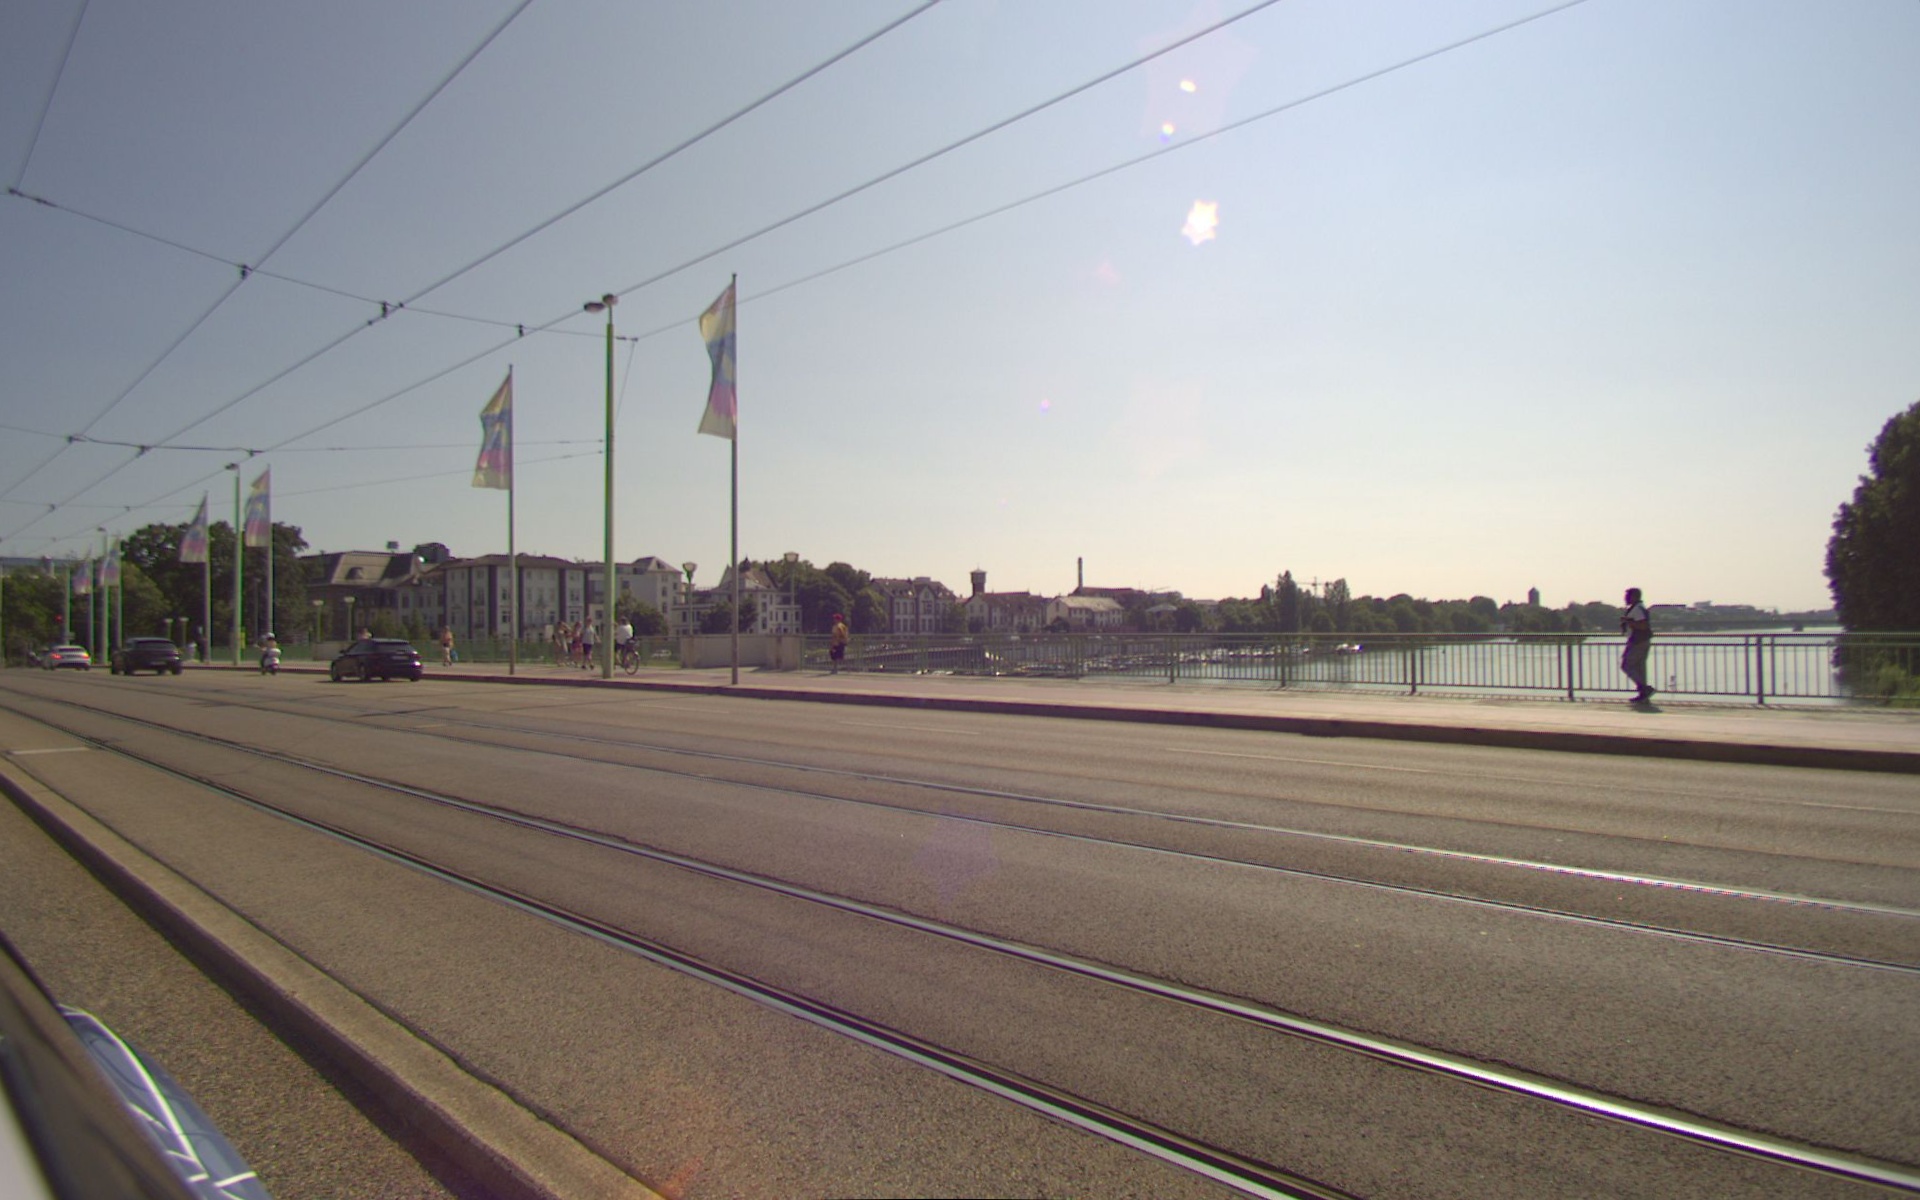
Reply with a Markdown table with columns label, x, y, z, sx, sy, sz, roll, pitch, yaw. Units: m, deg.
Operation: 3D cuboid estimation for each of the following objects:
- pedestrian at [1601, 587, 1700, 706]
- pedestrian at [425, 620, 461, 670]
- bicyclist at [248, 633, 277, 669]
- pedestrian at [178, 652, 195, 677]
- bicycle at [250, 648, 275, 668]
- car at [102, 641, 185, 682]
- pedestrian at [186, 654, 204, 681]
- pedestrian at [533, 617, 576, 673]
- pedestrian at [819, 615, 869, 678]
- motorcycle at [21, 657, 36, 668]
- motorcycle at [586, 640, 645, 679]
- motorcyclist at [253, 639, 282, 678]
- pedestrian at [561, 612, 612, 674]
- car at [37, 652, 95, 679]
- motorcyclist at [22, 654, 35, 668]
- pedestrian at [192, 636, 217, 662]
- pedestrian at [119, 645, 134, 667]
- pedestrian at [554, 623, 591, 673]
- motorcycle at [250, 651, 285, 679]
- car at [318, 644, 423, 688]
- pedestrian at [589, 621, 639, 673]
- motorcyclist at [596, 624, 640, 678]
| label | x | y | z | sx | sy | sz | roll | pitch | yaw |
| --- | --- | --- | --- | --- | --- | --- | --- | --- | --- |
| pedestrian | 10.487 | 0.698 | 15.370 | 1.093 | 1.735 | 0.821 | -3 | -3 | 42 |
| pedestrian | -21.597 | 1.868 | 42.277 | 1.099 | 2.029 | 0.960 | -3 | -3 | 36 |
| bicyclist | -39.318 | 2.889 | 57.026 | 1.128 | 1.976 | 1.086 | -4 | -3 | 39 |
| pedestrian | -56.622 | 4.715 | 74.069 | 0.956 | 1.797 | 0.731 | -4 | 0 | 39 |
| bicycle | -39.283 | 3.246 | 56.979 | 2.110 | 1.105 | 0.583 | -2 | -3 | 39 |
| car | -35.288 | 2.631 | 43.699 | 4.333 | 1.612 | 1.974 | -3 | -2 | 40 |
| pedestrian | -56.507 | 4.975 | 74.711 | 1.120 | 1.862 | 0.731 | -4 | 0 | 39 |
| pedestrian | -15.129 | 1.681 | 37.745 | 1.128 | 2.029 | 1.086 | -4 | -3 | 39 |
| pedestrian | -3.173 | 1.267 | 27.717 | 1.029 | 1.671 | 0.889 | -3 | -2 | 44 |
| motorcycle | -94.005 | 6.318 | 102.112 | 1.950 | 1.033 | 0.836 | -3 | -2 | 40 |
| motorcycle | -10.358 | 1.785 | 30.399 | 2.177 | 1.118 | 0.693 | -3 | -3 | 41 |
| motorcyclist | -28.986 | 2.441 | 42.353 | 0.831 | 1.586 | 0.819 | -3 | -3 | 41 |
| pedestrian | -12.590 | 1.449 | 34.111 | 1.293 | 2.029 | 1.086 | -4 | -3 | 39 |
| car | -51.874 | 3.782 | 58.676 | 4.545 | 1.420 | 1.973 | -3 | -2 | 41 |
| motorcyclist | -93.894 | 6.147 | 101.983 | 0.897 | 1.412 | 0.836 | -3 | -2 | 39 |
| pedestrian | -51.958 | 3.376 | 69.586 | 1.293 | 1.772 | 1.086 | -4 | -3 | 39 |
| pedestrian | -74.542 | 5.018 | 90.502 | 0.974 | 1.867 | 0.731 | -4 | 0 | 39 |
| pedestrian | -13.874 | 1.717 | 36.232 | 1.174 | 1.735 | 0.747 | -2 | -2 | 39 |
| motorcycle | -28.980 | 2.717 | 42.352 | 2.177 | 1.118 | 0.693 | -3 | -3 | 41 |
| car | -19.792 | 2.183 | 33.930 | 4.381 | 1.373 | 1.740 | -3 | -2 | 41 |
| pedestrian | -11.929 | 1.634 | 34.885 | 1.293 | 1.742 | 1.086 | -4 | -3 | 39 |
| motorcyclist | -10.229 | 1.523 | 30.258 | 1.068 | 1.561 | 0.792 | -3 | -3 | 41 |
